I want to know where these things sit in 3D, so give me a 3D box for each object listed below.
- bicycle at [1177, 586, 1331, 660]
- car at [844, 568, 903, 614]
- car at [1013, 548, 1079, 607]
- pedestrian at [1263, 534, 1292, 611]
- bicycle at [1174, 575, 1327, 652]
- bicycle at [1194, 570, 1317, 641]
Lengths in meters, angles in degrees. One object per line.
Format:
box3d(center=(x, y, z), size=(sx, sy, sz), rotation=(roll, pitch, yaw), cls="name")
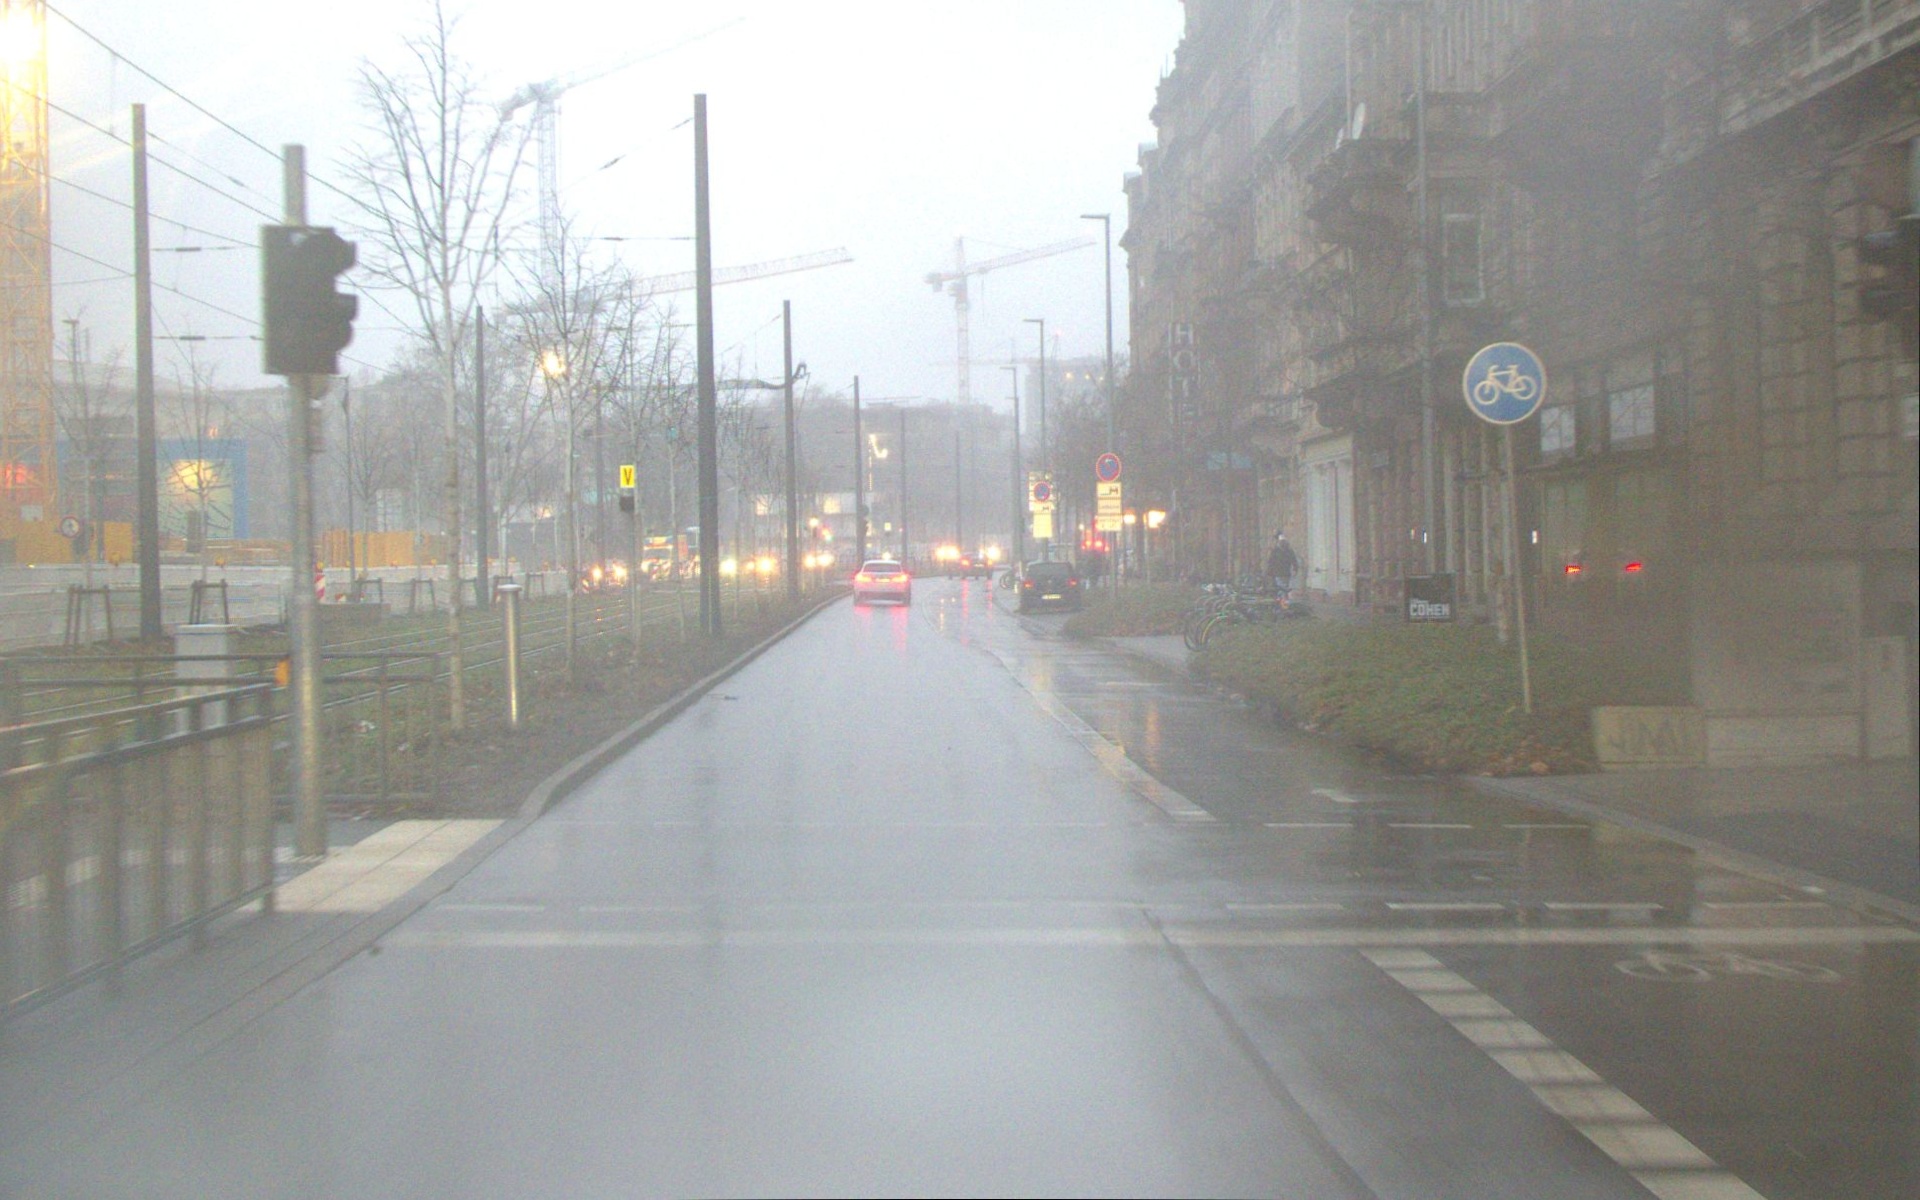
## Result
box3d(center=(4.418, 0.341, 51.716), size=(2.248, 1.054, 0.526), rotation=(-1, 1, -3), cls="bicycle")
box3d(center=(-2.850, -0.300, 113.631), size=(1.784, 1.462, 3.148), rotation=(-1, 1, 1), cls="car")
box3d(center=(2.415, -0.649, 96.869), size=(1.799, 1.598, 3.770), rotation=(-1, 1, 1), cls="car")
box3d(center=(7.446, -0.653, 80.630), size=(0.603, 1.779, 0.528), rotation=(-1, 1, -1), cls="pedestrian")
box3d(center=(4.250, 0.194, 50.392), size=(2.146, 1.054, 0.526), rotation=(-1, 1, -7), cls="bicycle")
box3d(center=(4.642, 0.086, 53.980), size=(1.851, 1.054, 0.471), rotation=(-1, 1, -3), cls="bicycle")
